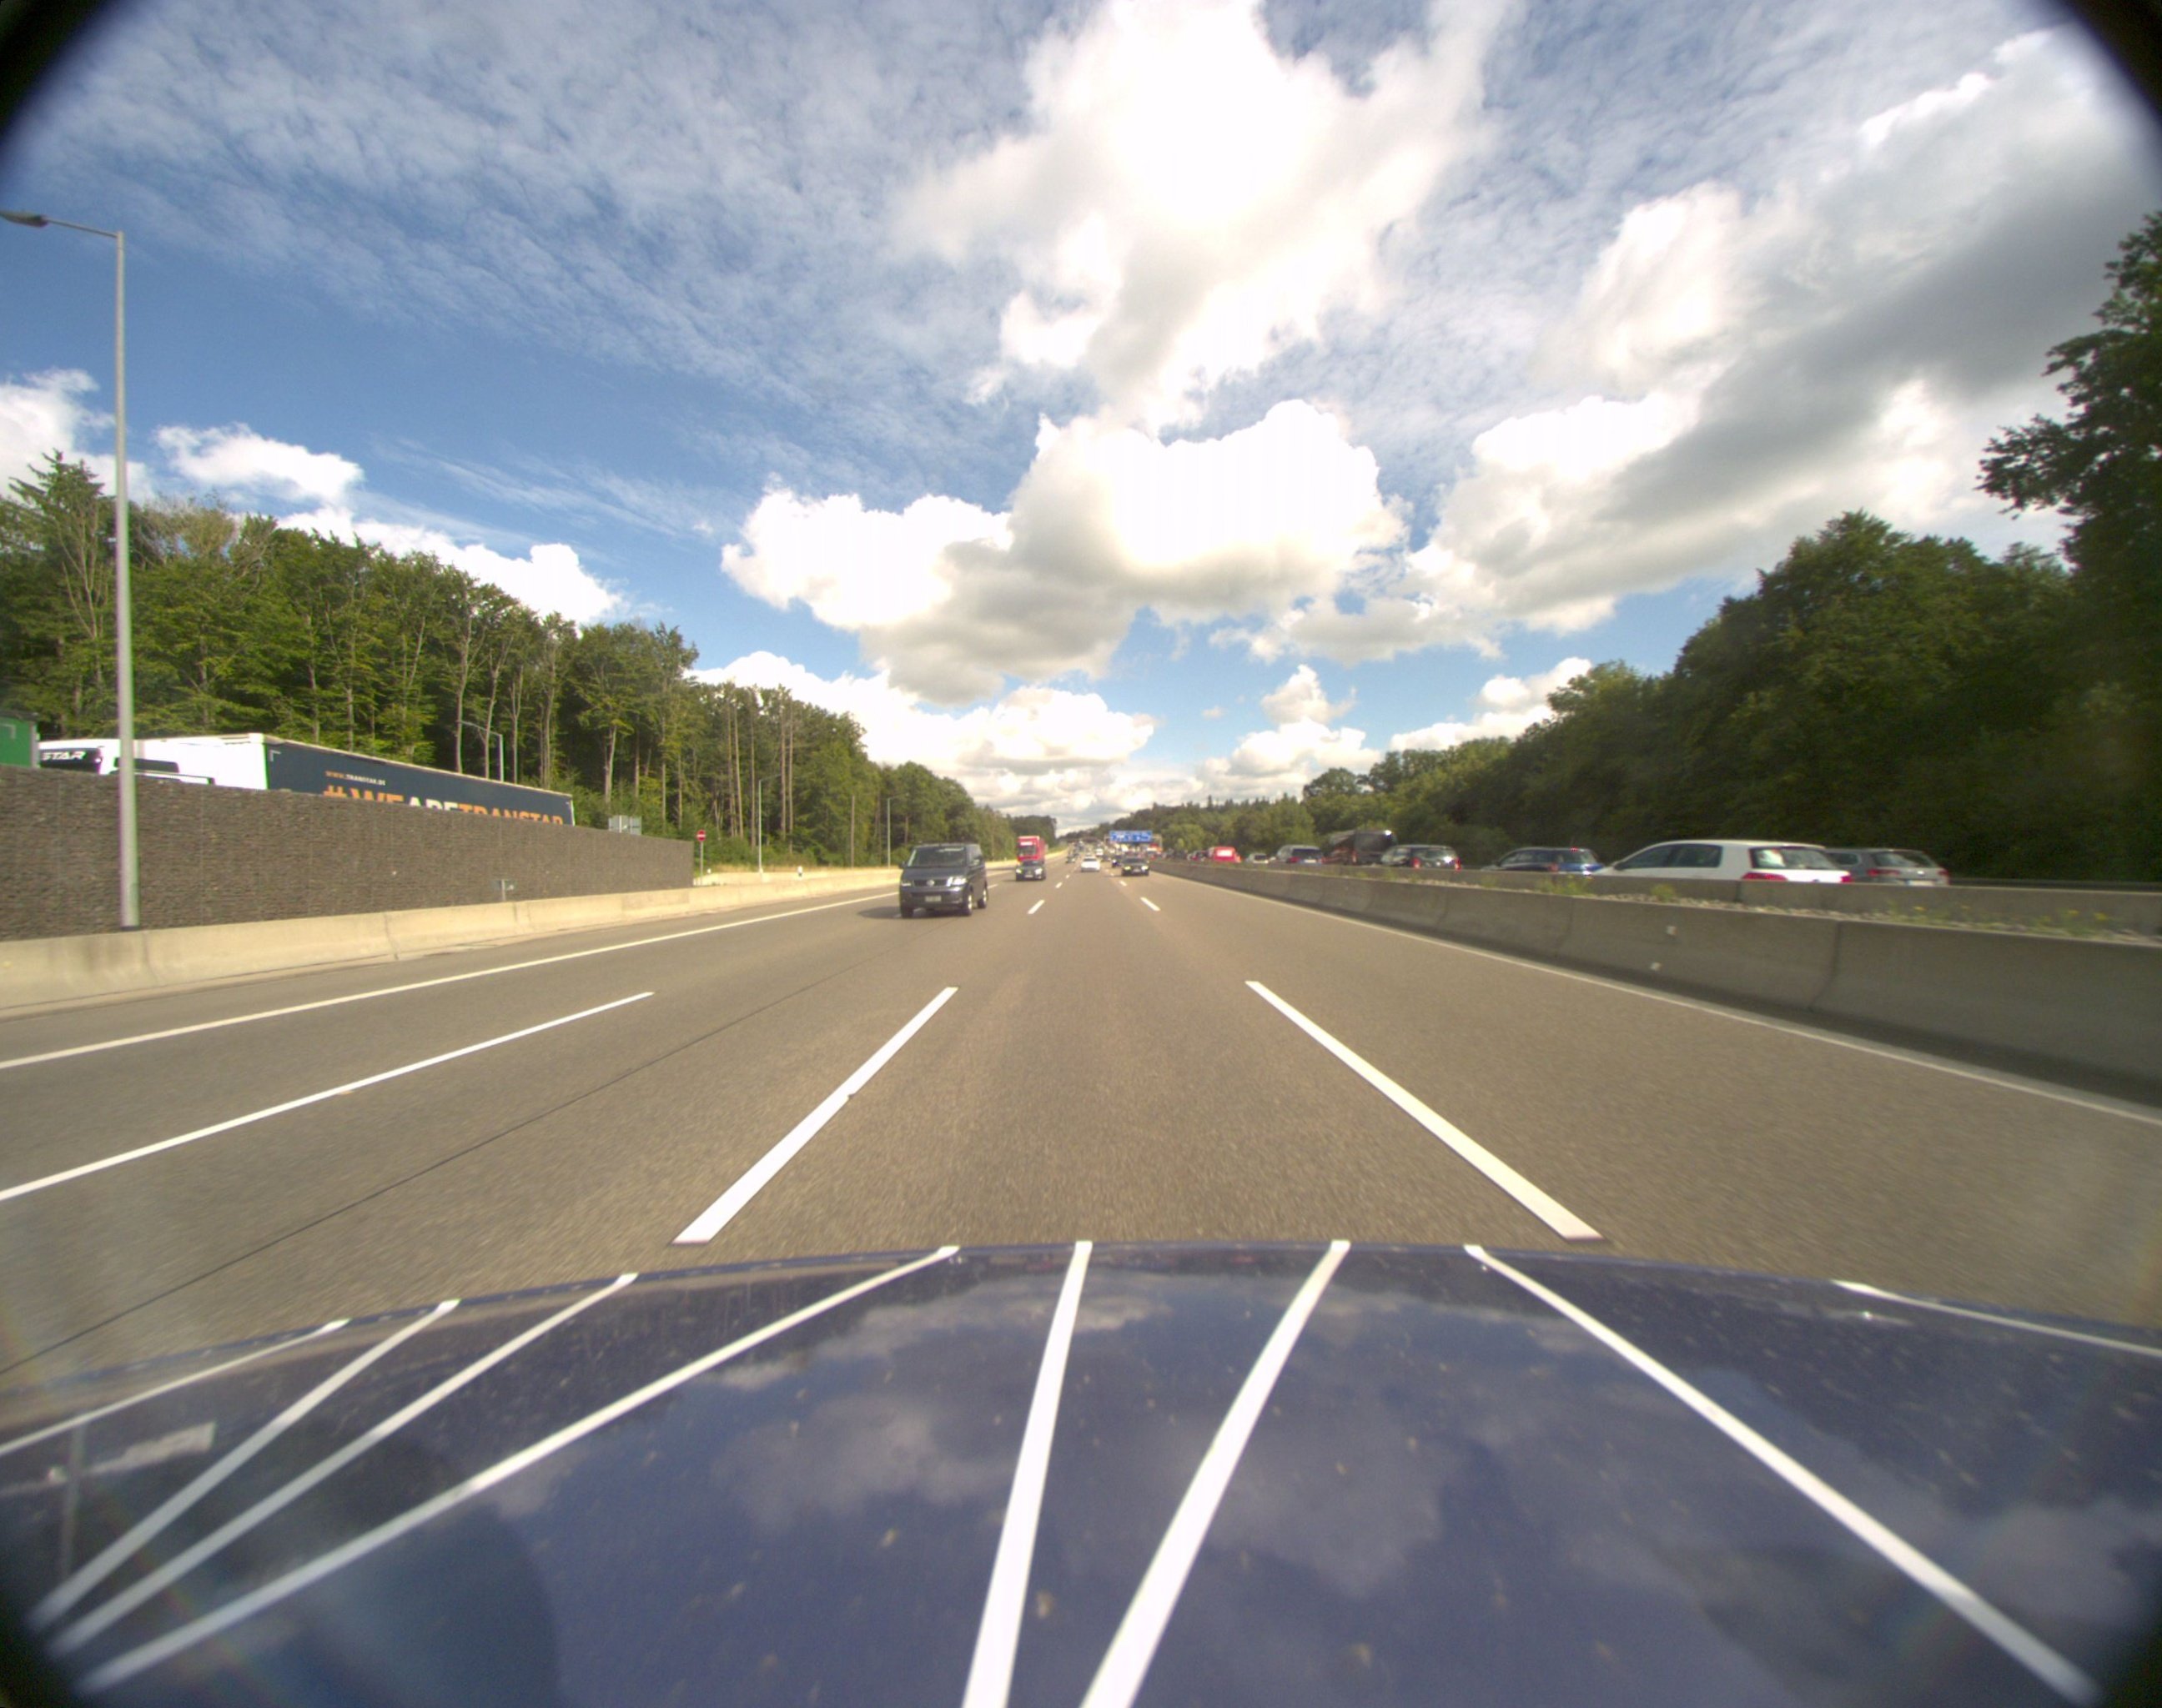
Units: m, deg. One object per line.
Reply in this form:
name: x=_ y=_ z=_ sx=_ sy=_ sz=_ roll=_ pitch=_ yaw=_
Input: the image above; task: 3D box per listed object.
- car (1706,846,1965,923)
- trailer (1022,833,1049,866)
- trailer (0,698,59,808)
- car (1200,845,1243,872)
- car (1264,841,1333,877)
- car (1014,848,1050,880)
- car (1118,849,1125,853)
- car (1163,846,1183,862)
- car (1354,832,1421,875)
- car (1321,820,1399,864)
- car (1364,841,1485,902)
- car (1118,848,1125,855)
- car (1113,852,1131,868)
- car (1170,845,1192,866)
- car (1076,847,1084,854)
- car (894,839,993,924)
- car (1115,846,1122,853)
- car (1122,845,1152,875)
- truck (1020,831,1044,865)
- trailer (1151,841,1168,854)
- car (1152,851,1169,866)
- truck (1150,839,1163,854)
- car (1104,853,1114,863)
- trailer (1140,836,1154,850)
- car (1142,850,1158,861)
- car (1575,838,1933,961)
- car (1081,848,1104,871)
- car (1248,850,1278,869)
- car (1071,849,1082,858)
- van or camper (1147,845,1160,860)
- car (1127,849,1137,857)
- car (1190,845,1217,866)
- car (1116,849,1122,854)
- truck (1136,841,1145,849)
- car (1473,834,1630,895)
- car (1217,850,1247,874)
car: x=17.968 y=0.647 z=18.468 sx=1.998 sy=1.563 sz=4.357 roll=-2 pitch=0 yaw=2
trailer: x=-5.997 y=-0.739 z=101.804 sx=2.531 sy=4.096 sz=14.373 roll=-2 pitch=2 yaw=0
trailer: x=-21.174 y=-1.798 z=11.828 sx=1.998 sy=2.002 sz=6.190 roll=-2 pitch=2 yaw=0
car: x=9.852 y=0.265 z=53.559 sx=1.881 sy=1.752 sz=5.293 roll=-2 pitch=0 yaw=-1
car: x=10.464 y=0.202 z=36.990 sx=1.998 sy=1.563 sz=5.207 roll=-2 pitch=0 yaw=2
car: x=-3.252 y=0.636 z=51.196 sx=1.998 sy=2.002 sz=4.000 roll=-2 pitch=1 yaw=2
car: x=12.457 y=-0.940 z=232.175 sx=1.761 sy=1.369 sz=4.000 roll=-2 pitch=0 yaw=0
car: x=11.205 y=0.005 z=92.493 sx=1.998 sy=1.749 sz=4.457 roll=-2 pitch=2 yaw=2
car: x=18.518 y=-0.050 z=46.173 sx=1.998 sy=2.360 sz=5.329 roll=-2 pitch=0 yaw=2
car: x=14.297 y=-0.581 z=39.311 sx=1.998 sy=2.020 sz=5.846 roll=-2 pitch=0 yaw=2
car: x=9.969 y=0.472 z=22.371 sx=1.998 sy=1.563 sz=3.511 roll=-2 pitch=0 yaw=2
car: x=12.296 y=-0.781 z=231.986 sx=1.691 sy=1.806 sz=4.294 roll=-2 pitch=2 yaw=0
car: x=4.808 y=0.692 z=89.774 sx=1.911 sy=1.582 sz=4.286 roll=-2 pitch=2 yaw=1
car: x=10.618 y=0.119 z=81.047 sx=1.821 sy=2.002 sz=4.451 roll=-2 pitch=2 yaw=2
car: x=-0.266 y=-0.959 z=202.197 sx=1.804 sy=1.865 sz=3.950 roll=-1 pitch=1 yaw=1
car: x=-3.827 y=0.663 z=22.070 sx=1.927 sy=2.153 sz=4.960 roll=-1 pitch=1 yaw=0
car: x=12.176 y=-1.409 z=248.574 sx=1.998 sy=2.002 sz=4.408 roll=-1 pitch=2 yaw=1
car: x=4.001 y=0.403 z=54.855 sx=1.919 sy=2.002 sz=4.000 roll=-2 pitch=1 yaw=2
truck: x=-6.042 y=-0.794 z=94.693 sx=2.532 sy=4.179 sz=4.652 roll=-2 pitch=2 yaw=1
trailer: x=20.562 y=-1.693 z=199.523 sx=2.735 sy=3.316 sz=14.217 roll=-2 pitch=0 yaw=0
car: x=10.911 y=0.606 z=104.768 sx=1.998 sy=1.894 sz=4.458 roll=-2 pitch=1 yaw=2
truck: x=20.494 y=-2.164 z=206.389 sx=2.783 sy=3.916 sz=6.852 roll=-2 pitch=1 yaw=0
car: x=5.533 y=0.832 z=149.623 sx=1.804 sy=1.783 sz=3.757 roll=-1 pitch=1 yaw=1
trailer: x=20.443 y=-3.502 z=236.056 sx=2.778 sy=4.211 sz=13.654 roll=-2 pitch=2 yaw=0
car: x=10.469 y=0.183 z=115.542 sx=1.998 sy=1.563 sz=4.815 roll=-1 pitch=0 yaw=2
car: x=10.404 y=0.597 z=12.323 sx=1.998 sy=1.563 sz=4.357 roll=-2 pitch=0 yaw=2
car: x=1.097 y=0.481 z=71.631 sx=1.998 sy=2.002 sz=4.000 roll=-1 pitch=0 yaw=2
car: x=18.378 y=0.510 z=76.935 sx=1.998 sy=1.752 sz=4.459 roll=-2 pitch=0 yaw=2
car: x=-0.859 y=-0.058 z=146.096 sx=1.911 sy=1.582 sz=4.285 roll=-2 pitch=2 yaw=-2
van or camper: x=15.993 y=-0.459 z=168.260 sx=2.144 sy=3.154 sz=6.243 roll=-3 pitch=1 yaw=0
car: x=11.608 y=-0.249 z=173.129 sx=1.691 sy=1.806 sz=4.294 roll=-2 pitch=2 yaw=0
car: x=10.988 y=0.100 z=68.378 sx=1.862 sy=1.753 sz=4.458 roll=-2 pitch=1 yaw=2
car: x=12.547 y=-0.854 z=250.964 sx=1.998 sy=1.733 sz=4.294 roll=-4 pitch=1 yaw=0
truck: x=20.570 y=-3.080 z=263.601 sx=2.334 sy=2.785 sz=7.947 roll=-3 pitch=1 yaw=0
car: x=13.724 y=0.264 z=22.536 sx=1.998 sy=1.563 sz=4.357 roll=-2 pitch=0 yaw=2
car: x=14.470 y=0.699 z=73.057 sx=1.998 sy=2.002 sz=4.457 roll=2 pitch=2 yaw=2
